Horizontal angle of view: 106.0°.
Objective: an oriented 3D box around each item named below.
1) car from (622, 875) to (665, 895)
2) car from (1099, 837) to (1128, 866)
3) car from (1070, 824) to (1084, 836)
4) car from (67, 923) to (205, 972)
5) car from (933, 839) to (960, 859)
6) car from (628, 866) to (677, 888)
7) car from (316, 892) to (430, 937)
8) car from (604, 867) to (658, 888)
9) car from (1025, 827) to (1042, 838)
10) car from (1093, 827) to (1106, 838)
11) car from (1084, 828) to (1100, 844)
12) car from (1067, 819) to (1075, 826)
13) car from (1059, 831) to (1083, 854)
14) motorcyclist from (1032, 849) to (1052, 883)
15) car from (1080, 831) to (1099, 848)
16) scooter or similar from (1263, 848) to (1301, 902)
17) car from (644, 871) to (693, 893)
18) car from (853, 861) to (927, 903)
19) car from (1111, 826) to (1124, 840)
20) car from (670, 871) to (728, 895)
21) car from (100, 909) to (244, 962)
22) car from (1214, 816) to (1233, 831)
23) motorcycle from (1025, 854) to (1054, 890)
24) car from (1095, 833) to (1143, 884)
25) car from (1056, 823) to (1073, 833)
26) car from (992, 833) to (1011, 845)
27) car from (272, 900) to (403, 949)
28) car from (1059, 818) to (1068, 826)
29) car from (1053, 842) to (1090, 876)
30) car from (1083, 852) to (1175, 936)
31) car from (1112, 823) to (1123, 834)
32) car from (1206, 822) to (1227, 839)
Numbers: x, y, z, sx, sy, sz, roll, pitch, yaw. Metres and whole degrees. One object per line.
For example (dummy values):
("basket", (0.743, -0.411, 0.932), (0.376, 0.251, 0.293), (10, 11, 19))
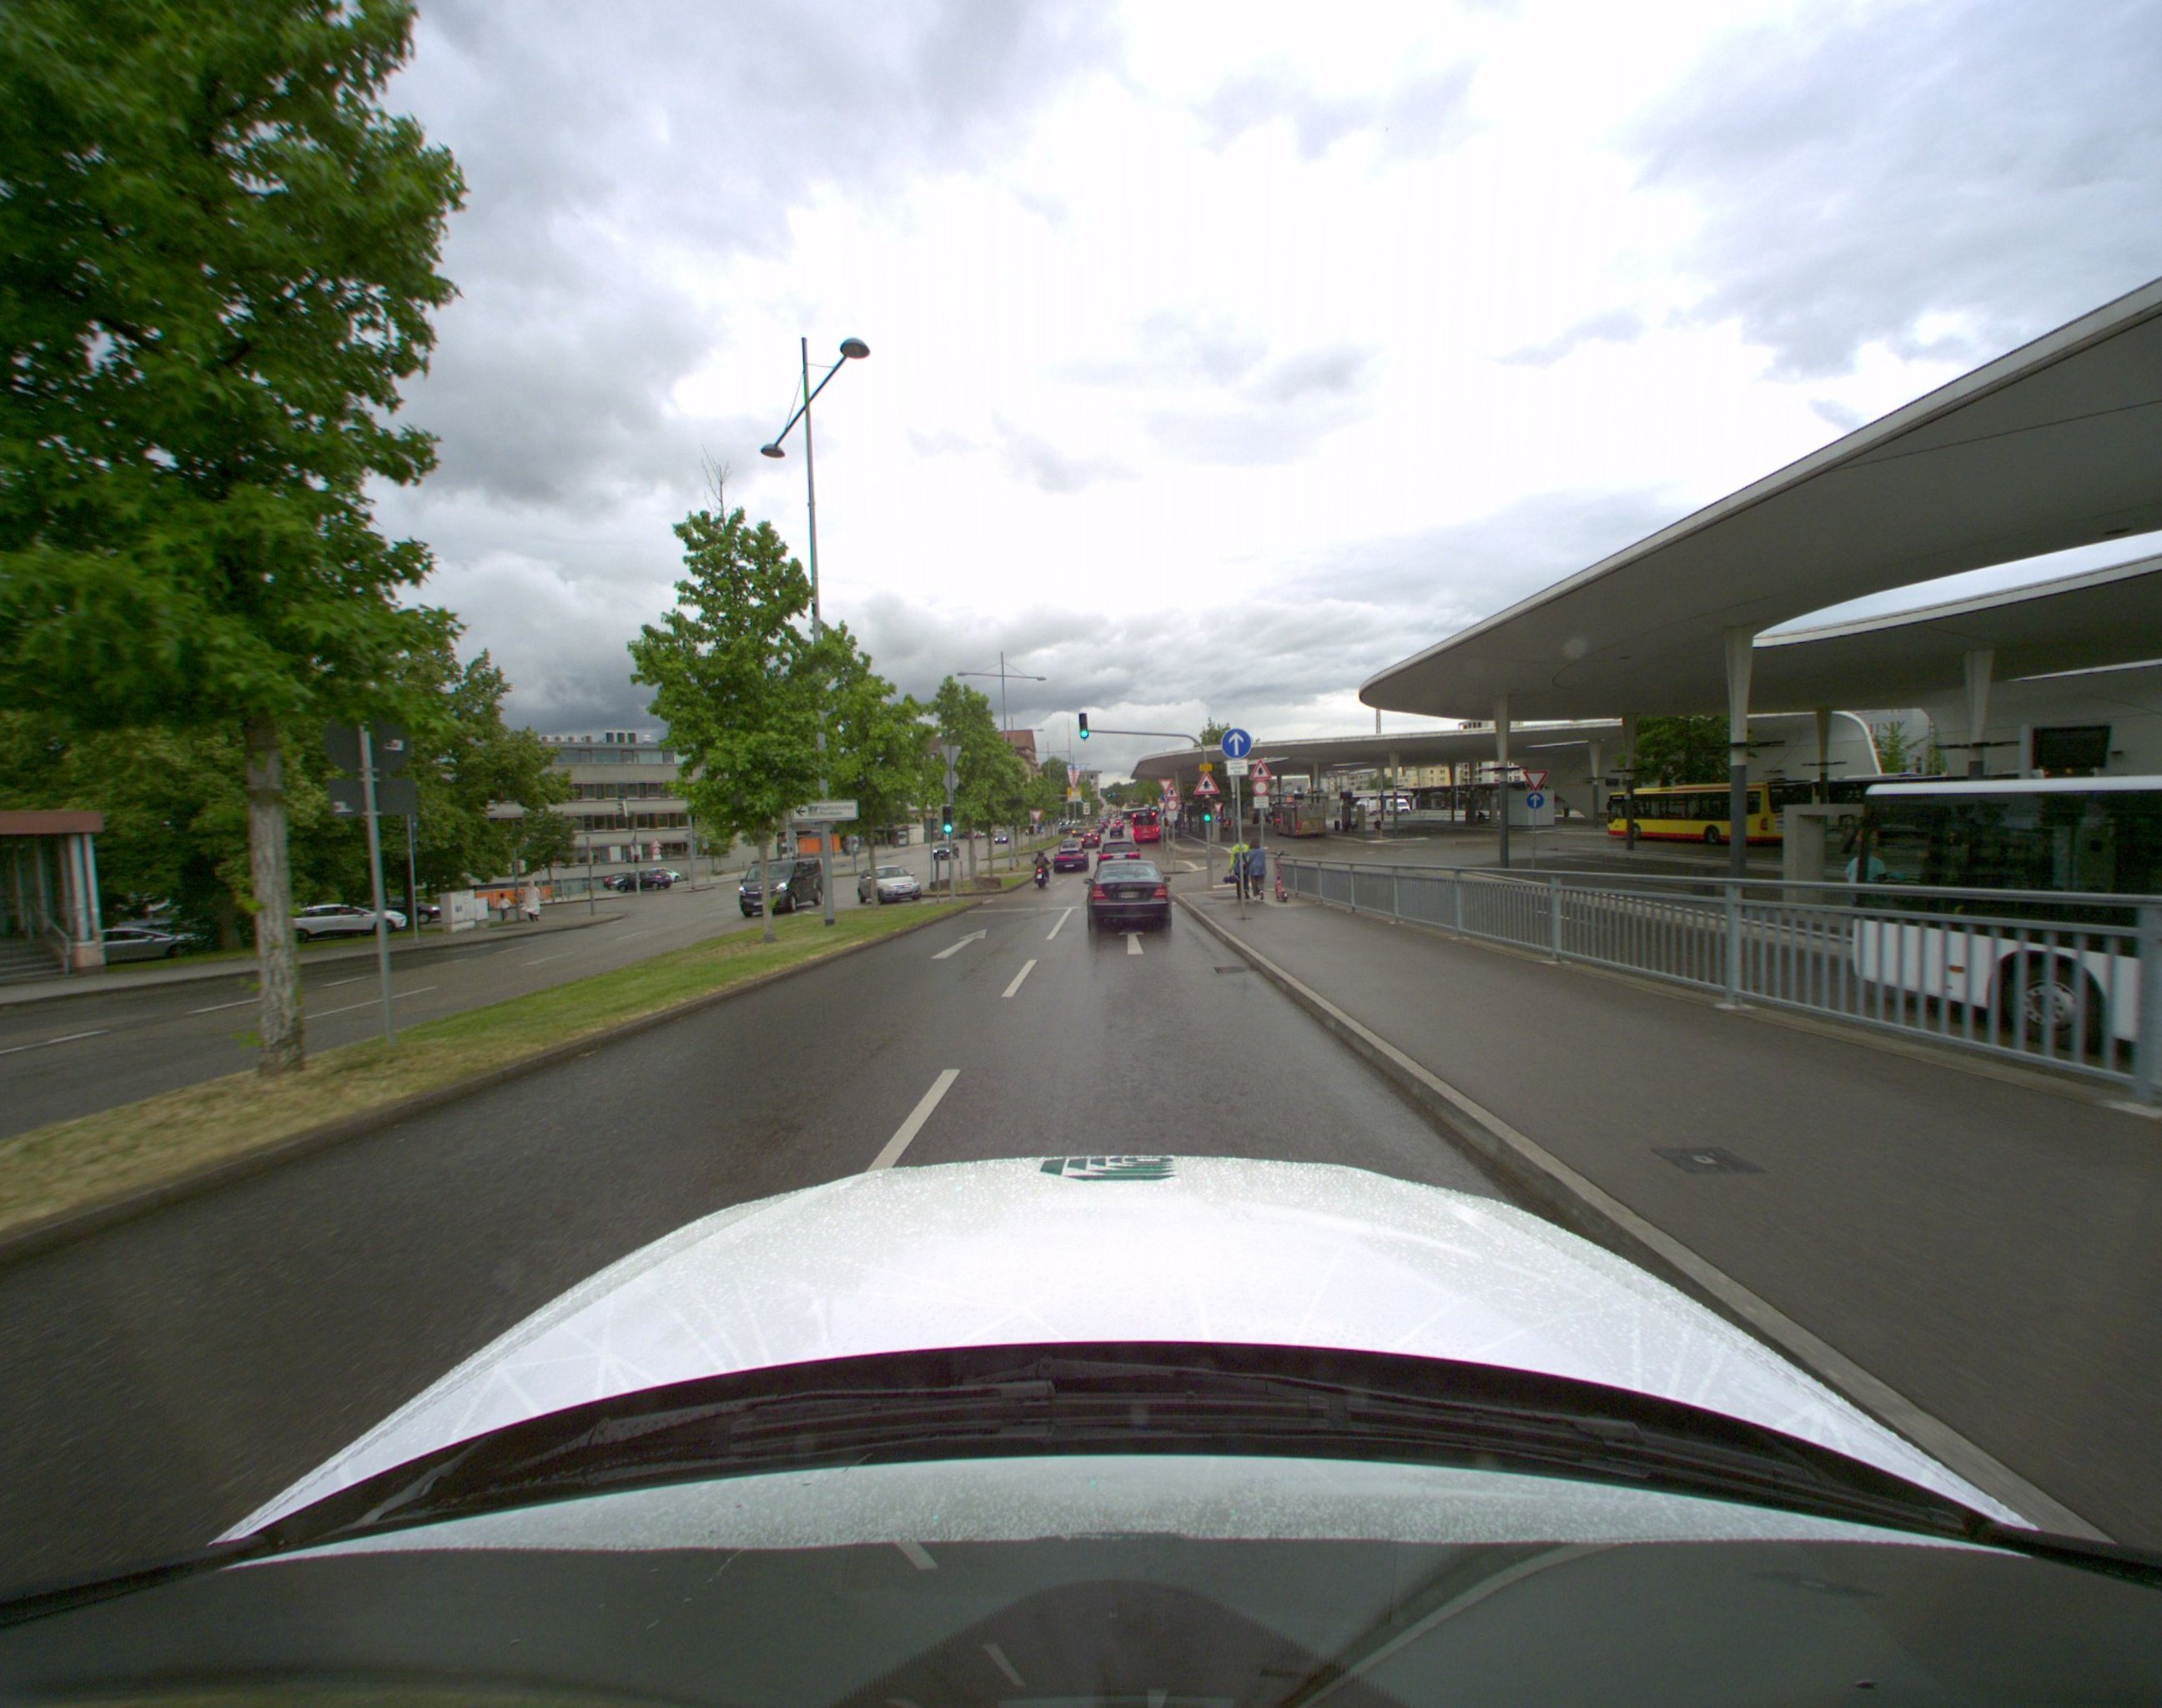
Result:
("car", (-33.622, 2.358, 62.585), (3.536, 1.350, 1.493), (-2, 2, 37))
("car", (2.161, -0.183, 53.934), (1.734, 1.566, 3.875), (-5, 3, 3))
("car", (-0.610, -3.475, 117.702), (1.858, 1.684, 4.002), (0, 0, 2))
("car", (-36.298, 3.562, 31.409), (1.479, 1.296, 3.338), (-1, 3, 43))
("car", (-13.442, -0.562, 81.531), (1.903, 1.661, 4.858), (-3, 4, -1))
("car", (-37.438, 1.978, 71.253), (1.614, 1.495, 3.600), (-3, 3, 18))
("car", (-33.457, 2.809, 38.548), (1.707, 1.567, 3.862), (-1, 3, 45))
("car", (-40.871, 2.149, 74.051), (1.743, 1.495, 3.813), (-2, 3, 41))
("car", (-8.525, -3.878, 145.843), (1.651, 1.804, 3.606), (1, -1, -28))
("car", (2.894, -3.293, 125.240), (1.858, 1.684, 4.002), (0, 0, 2))
("car", (1.313, -2.100, 92.664), (1.569, 1.566, 3.875), (-5, 3, 3))
("car", (-2.521, -7.954, 206.682), (1.569, 1.566, 3.433), (-5, 3, 3))
("car", (-0.858, -1.021, 69.727), (1.669, 1.622, 3.875), (-5, 3, 3))
("motorcyclist", (-1.628, 0.497, 34.070), (0.638, 1.347, 0.690), (-4, 3, 6))
("car", (0.865, -1.492, 82.953), (1.569, 1.504, 3.876), (-5, 3, 3))
("scooter or similar", (4.902, 0.498, 19.928), (0.462, 1.221, 1.860), (-3, -1, 2))
("car", (-35.755, 2.430, 70.686), (1.614, 1.495, 3.600), (-3, 3, 18))
("car", (-7.630, 1.095, 32.234), (1.643, 1.448, 3.837), (-5, 1, -31))
("car", (4.715, -2.746, 104.831), (1.569, 1.566, 3.875), (-5, 3, 3))
("car", (-30.648, 2.304, 65.404), (3.643, 1.438, 1.834), (-5, 3, 5))
("car", (-38.052, 3.372, 34.245), (1.707, 1.567, 3.862), (-1, 3, 45))
("car", (17.767, -3.838, 101.393), (1.705, 1.661, 4.243), (-2, 3, 2))
("motorcycle", (-1.709, 0.731, 33.911), (0.789, 1.261, 1.859), (-5, 3, 6))
("car", (1.760, 0.148, 37.910), (1.949, 1.875, 4.878), (-5, 3, 3))
("car", (-2.717, -4.270, 133.245), (1.733, 1.560, 3.743), (-3, 1, -20))
("car", (-11.521, -2.254, 118.134), (1.839, 1.504, 4.925), (-3, 3, 4))
("car", (-32.493, 3.018, 35.697), (4.080, 1.508, 1.707), (-6, 3, -43))
("car", (-4.370, -7.898, 200.777), (1.773, 1.566, 3.433), (-5, 3, 3))
("car", (-0.498, 0.245, 48.390), (1.809, 1.570, 4.408), (-5, 3, 3))
("car", (1.000, 0.761, 17.578), (1.691, 1.462, 4.306), (-2, 1, 2))
("car", (6.052, -4.259, 134.914), (1.858, 1.684, 4.002), (0, 0, 2))
("car", (13.658, -2.399, 82.233), (1.641, 1.452, 3.239), (-3, 3, 1))
